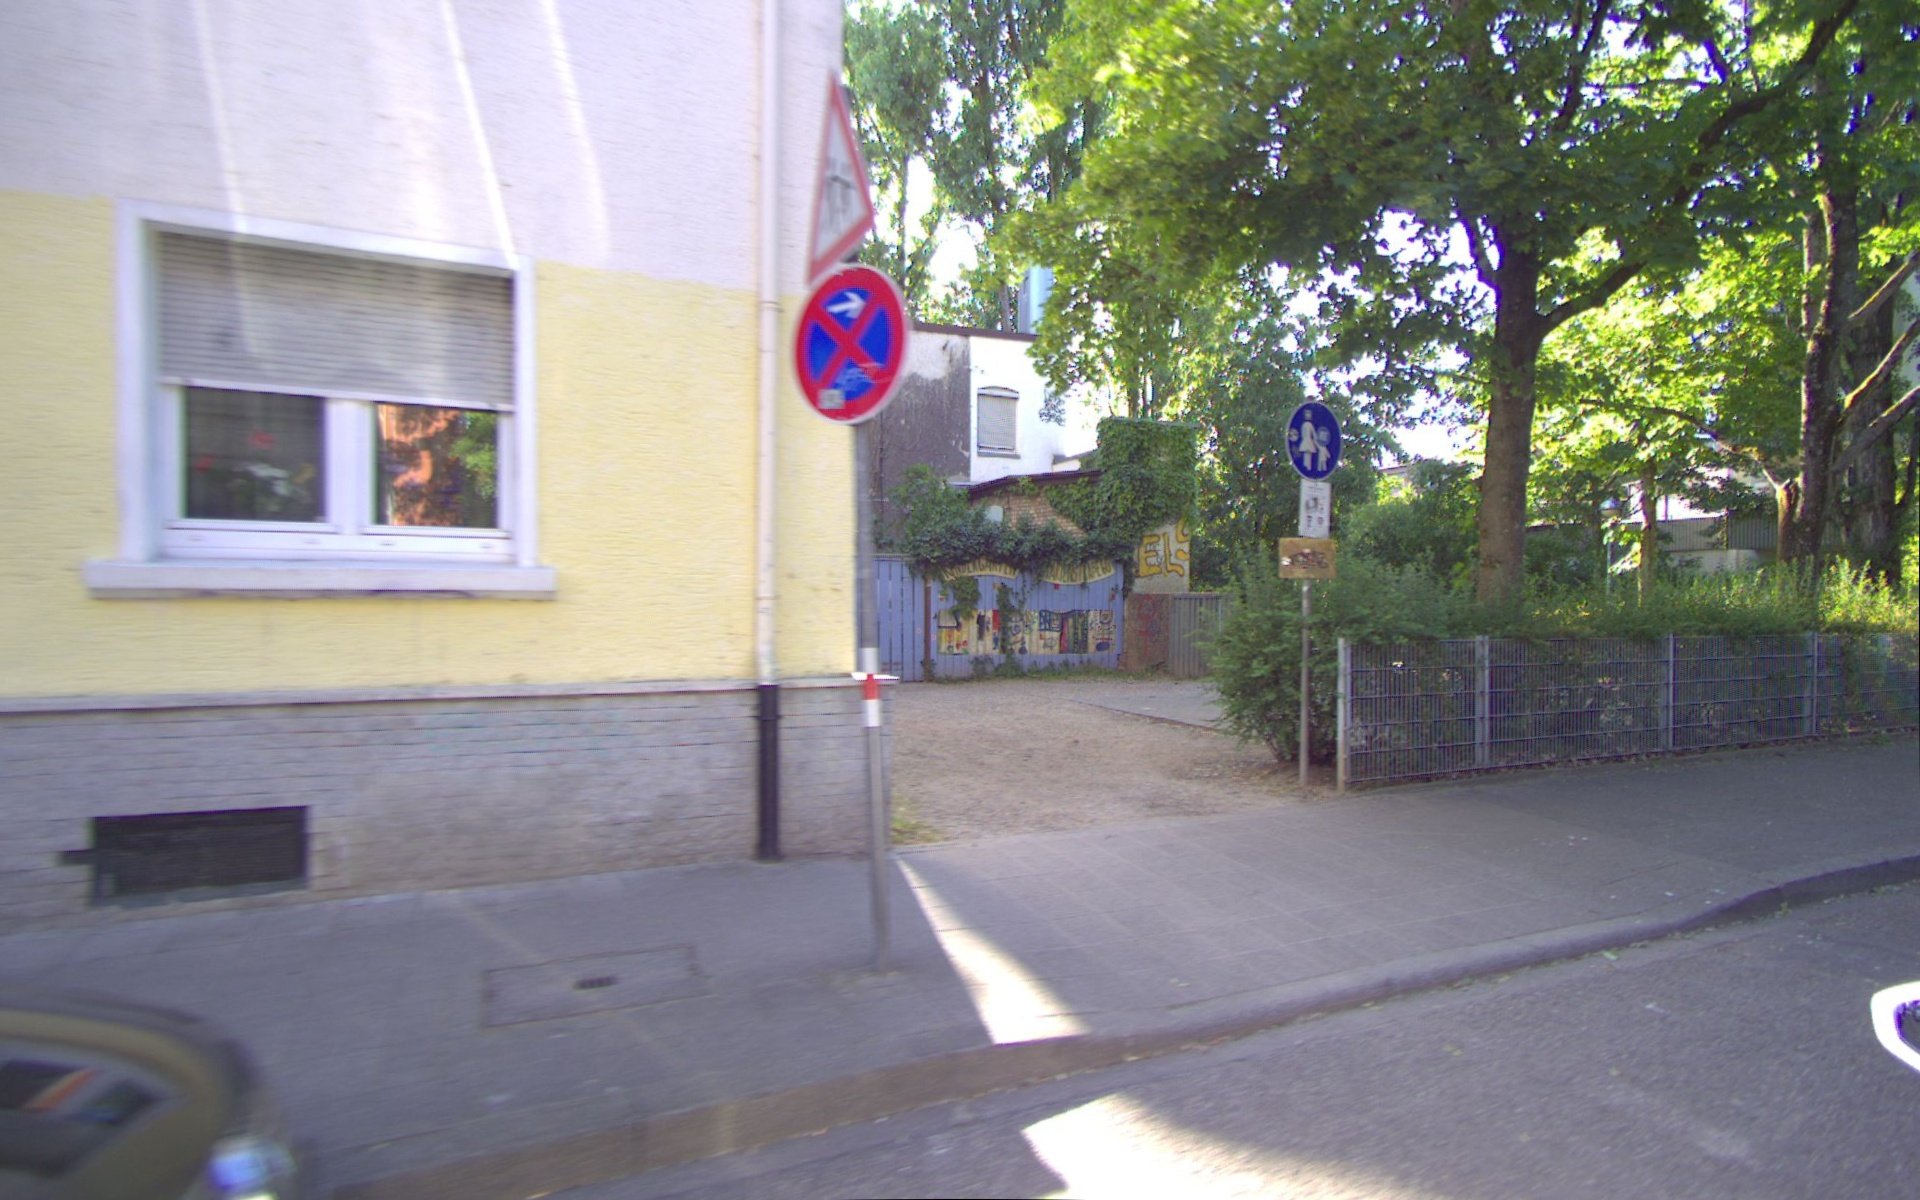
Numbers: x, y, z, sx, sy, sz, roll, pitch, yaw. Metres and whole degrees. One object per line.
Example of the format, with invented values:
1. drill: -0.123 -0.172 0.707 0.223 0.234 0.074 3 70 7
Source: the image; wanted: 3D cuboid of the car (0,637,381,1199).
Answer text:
1. car: -2.992 0.792 0.685 4.333 1.462 1.774 1 -3 -26
